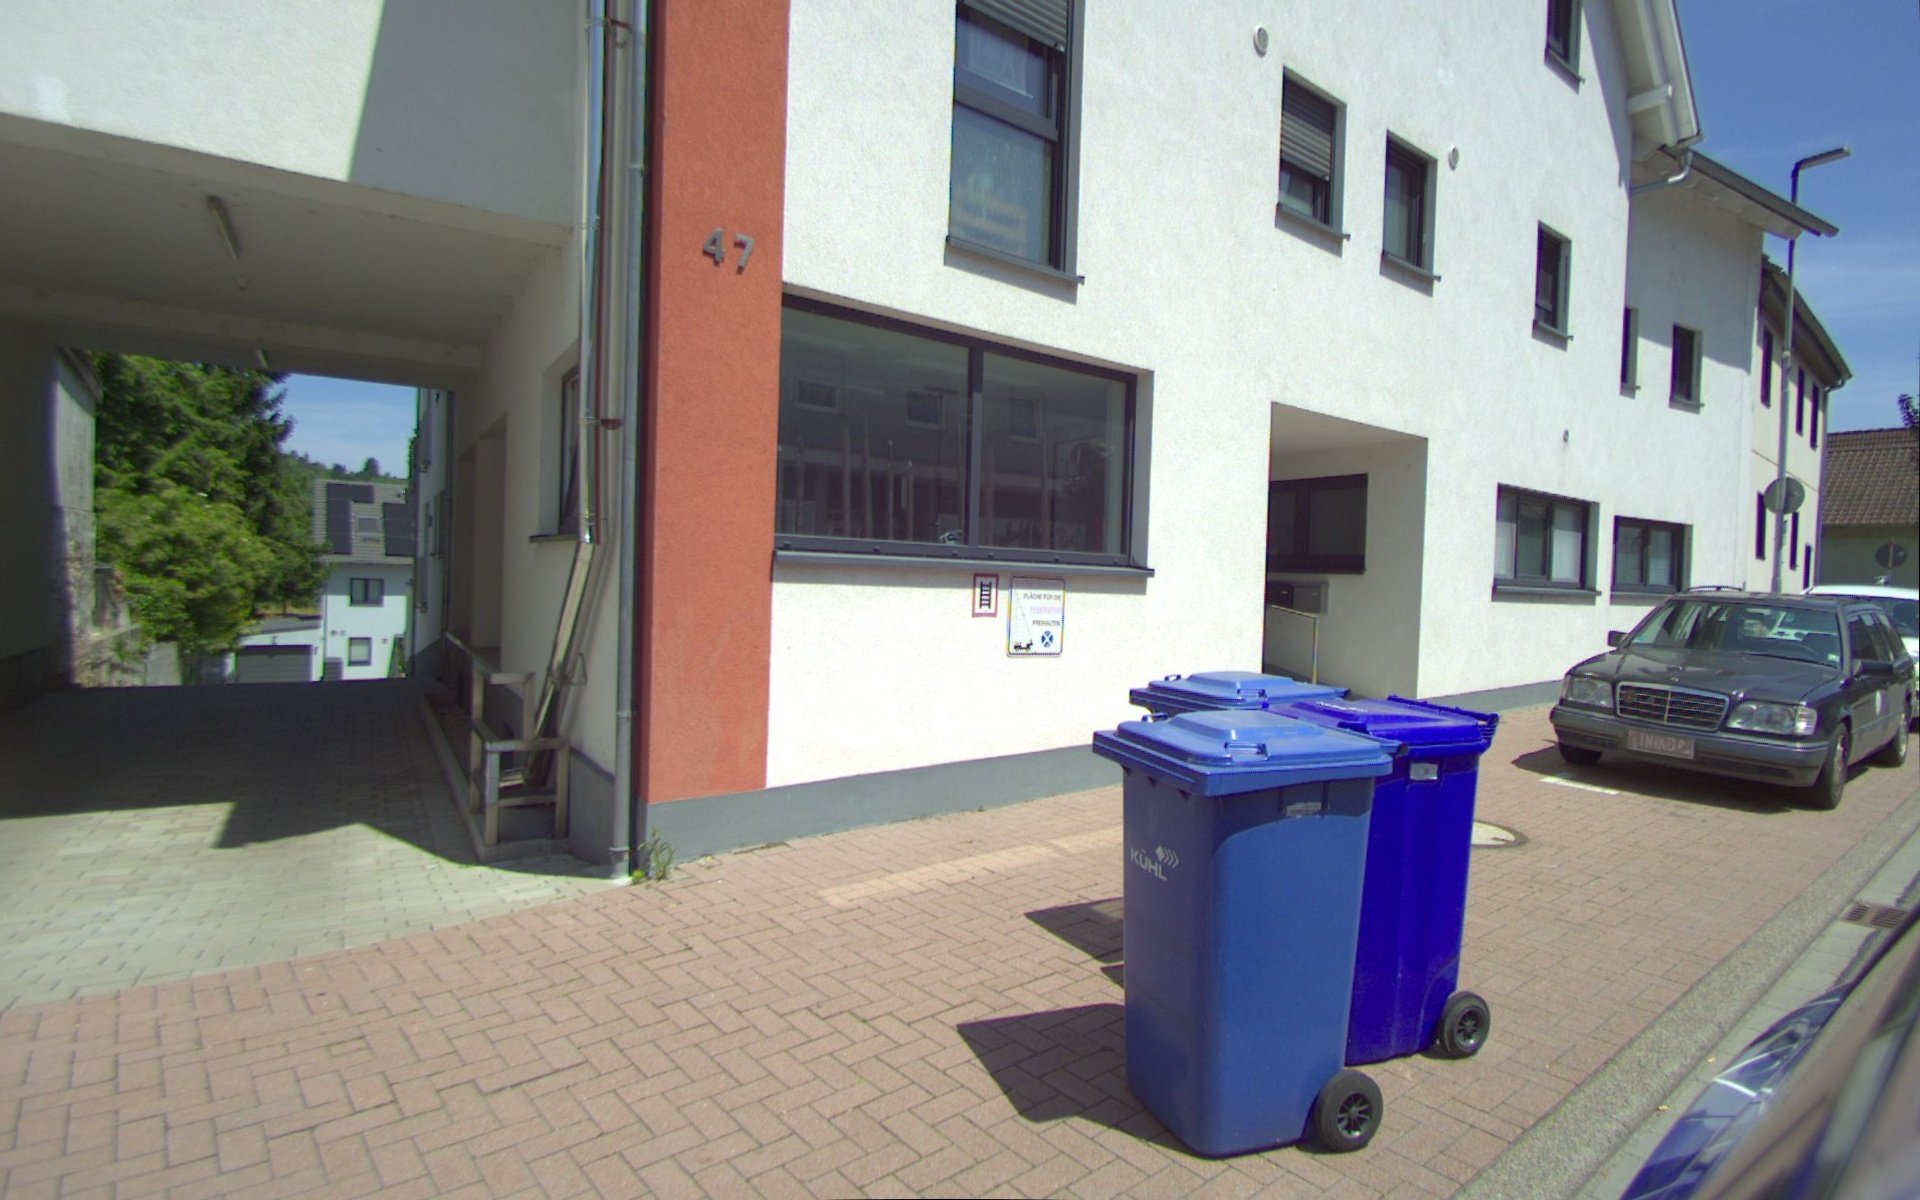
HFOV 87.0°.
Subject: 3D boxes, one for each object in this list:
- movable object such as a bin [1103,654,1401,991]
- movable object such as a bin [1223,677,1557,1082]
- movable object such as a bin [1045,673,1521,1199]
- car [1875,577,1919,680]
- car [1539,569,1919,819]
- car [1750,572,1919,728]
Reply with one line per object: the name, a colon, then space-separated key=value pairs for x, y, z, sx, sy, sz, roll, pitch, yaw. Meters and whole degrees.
movable object such as a bin: x=1.095 y=0.777 z=3.874 sx=0.818 sy=1.073 sz=0.658 roll=1 pitch=3 yaw=-24
movable object such as a bin: x=1.355 y=0.817 z=3.260 sx=0.670 sy=1.047 sz=0.659 roll=1 pitch=3 yaw=-24
movable object such as a bin: x=0.850 y=0.794 z=2.780 sx=0.951 sy=1.086 sz=0.726 roll=1 pitch=3 yaw=-24
car: x=17.360 y=0.529 z=17.395 sx=4.468 sy=1.633 sz=1.806 roll=1 pitch=3 yaw=-41
car: x=6.759 y=0.574 z=8.475 sx=4.750 sy=1.464 sz=1.705 roll=0 pitch=4 yaw=-40
car: x=10.889 y=0.511 z=12.040 sx=3.482 sy=1.540 sz=1.611 roll=0 pitch=4 yaw=-41
